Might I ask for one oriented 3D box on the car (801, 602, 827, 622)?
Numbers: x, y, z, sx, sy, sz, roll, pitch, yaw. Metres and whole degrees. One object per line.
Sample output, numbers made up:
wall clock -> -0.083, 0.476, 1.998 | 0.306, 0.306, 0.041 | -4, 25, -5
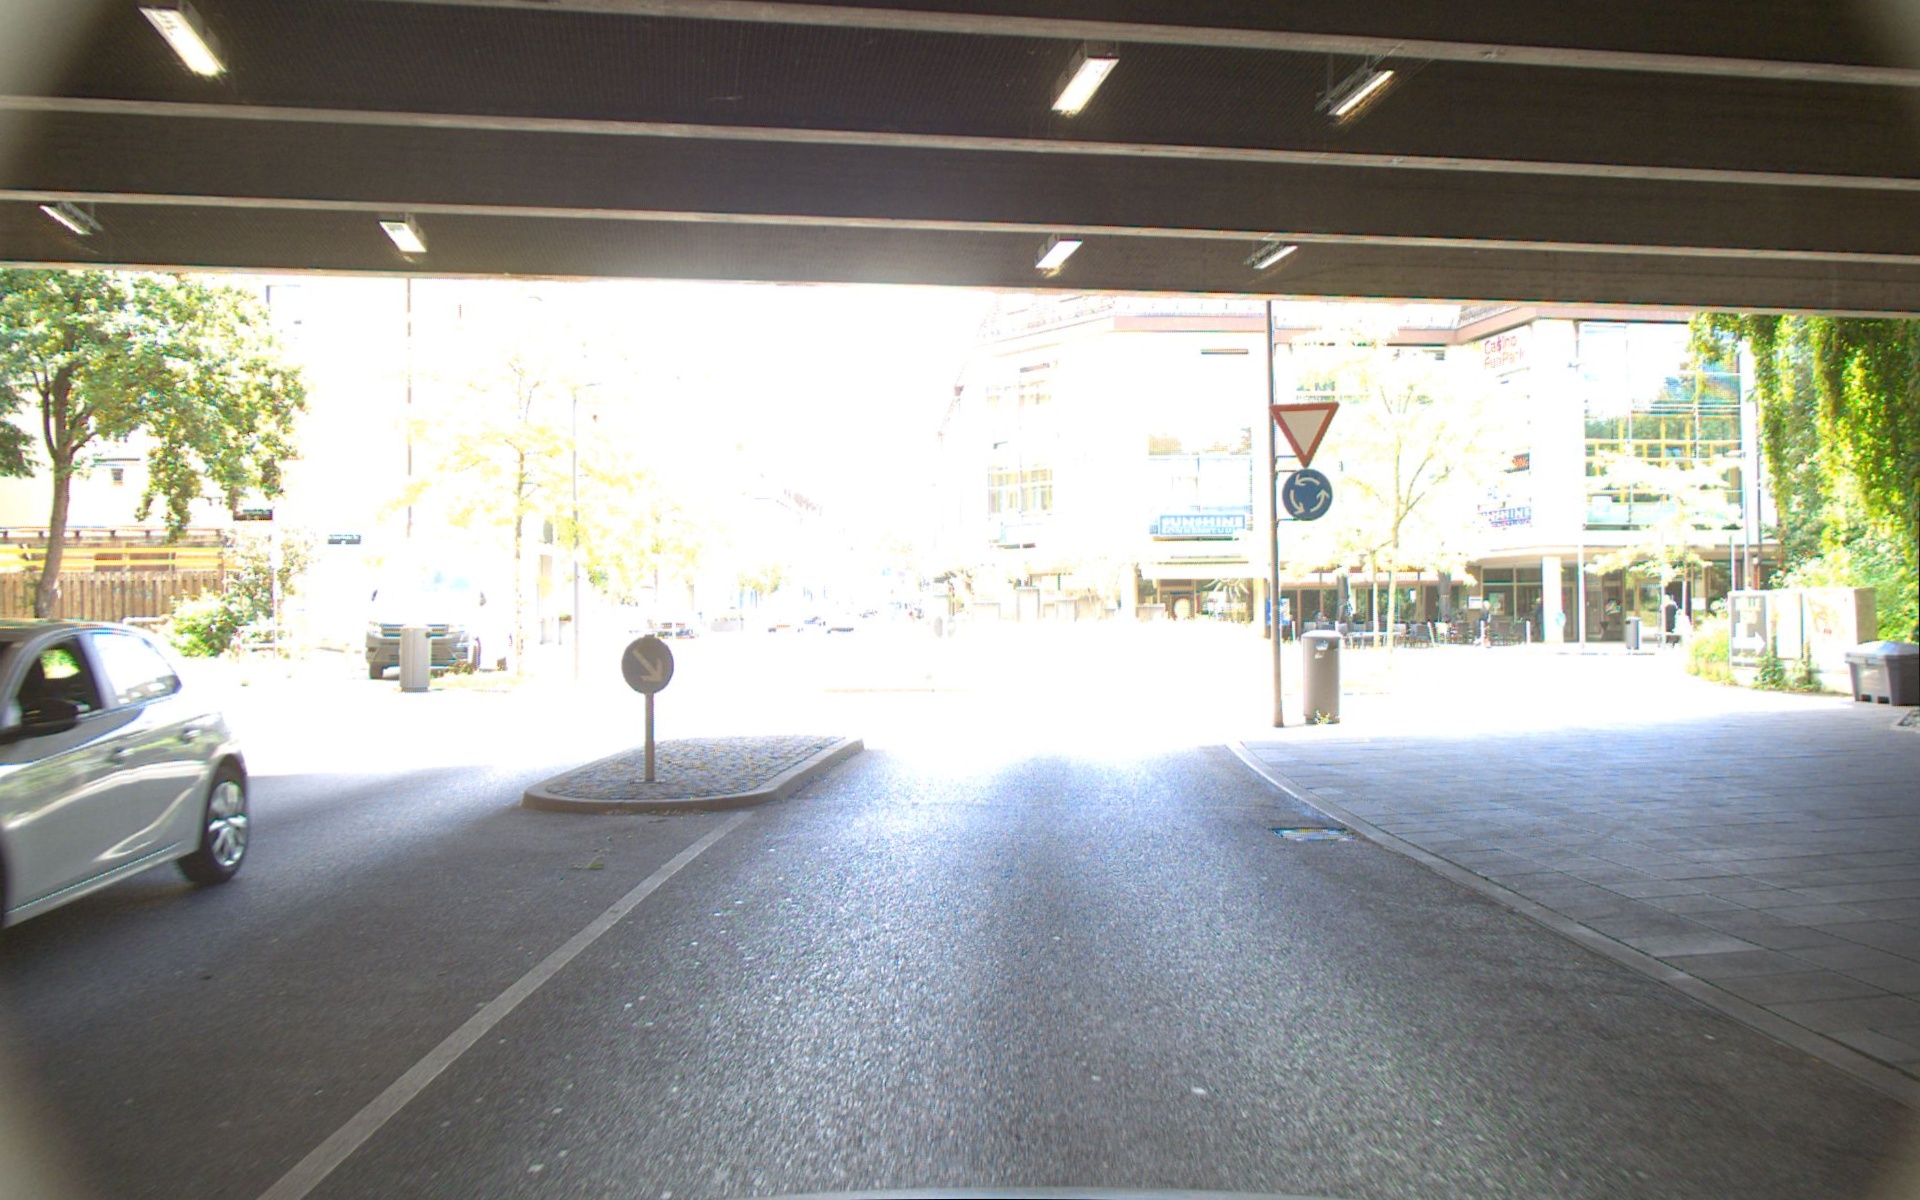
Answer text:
car -> -10.225, 0.840, 115.551 | 1.677, 1.378, 3.994 | 0, 0, -7

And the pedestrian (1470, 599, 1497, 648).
pedestrian -> 18.553, 0.830, 58.622 | 0.687, 1.704, 0.612 | 0, 0, -27

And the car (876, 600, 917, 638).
car -> -3.070, 0.939, 80.857 | 1.787, 1.761, 4.233 | -2, -1, 0

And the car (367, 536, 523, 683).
car -> -10.145, 0.180, 33.047 | 1.930, 2.652, 5.920 | 1, 0, -7

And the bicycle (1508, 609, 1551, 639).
bicycle -> 22.485, 0.950, 65.319 | 1.509, 1.188, 0.495 | 0, -1, 30

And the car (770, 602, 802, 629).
car -> -9.376, 0.815, 89.055 | 1.677, 1.378, 3.994 | 0, 0, -7

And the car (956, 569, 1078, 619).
car -> 1.974, -0.216, 58.961 | 1.977, 1.717, 4.634 | 0, 0, -35

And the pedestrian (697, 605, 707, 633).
pedestrian -> -15.445, 1.134, 99.025 | 0.540, 1.715, 0.515 | 0, 0, -6

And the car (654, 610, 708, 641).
car -> -11.861, 1.060, 70.443 | 1.675, 1.267, 4.410 | 0, 0, -2

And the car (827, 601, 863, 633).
car -> -5.898, 0.872, 85.056 | 1.788, 1.546, 4.229 | -1, -1, -4

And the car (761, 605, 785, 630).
car -> -13.664, 1.257, 120.970 | 1.677, 1.742, 3.994 | 0, 0, -7

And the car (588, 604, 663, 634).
car -> -20.566, 1.162, 101.657 | 4.351, 1.807, 1.989 | 0, -1, -19

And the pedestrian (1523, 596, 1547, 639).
pedestrian -> 22.754, 0.677, 65.479 | 0.684, 1.704, 0.615 | 0, 0, -14

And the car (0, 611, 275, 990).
car -> -4.665, 0.827, 7.470 | 1.638, 1.473, 3.850 | -2, 0, -2

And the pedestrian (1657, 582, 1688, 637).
pedestrian -> 24.856, 0.330, 57.731 | 0.604, 1.850, 0.696 | -4, 0, -9
